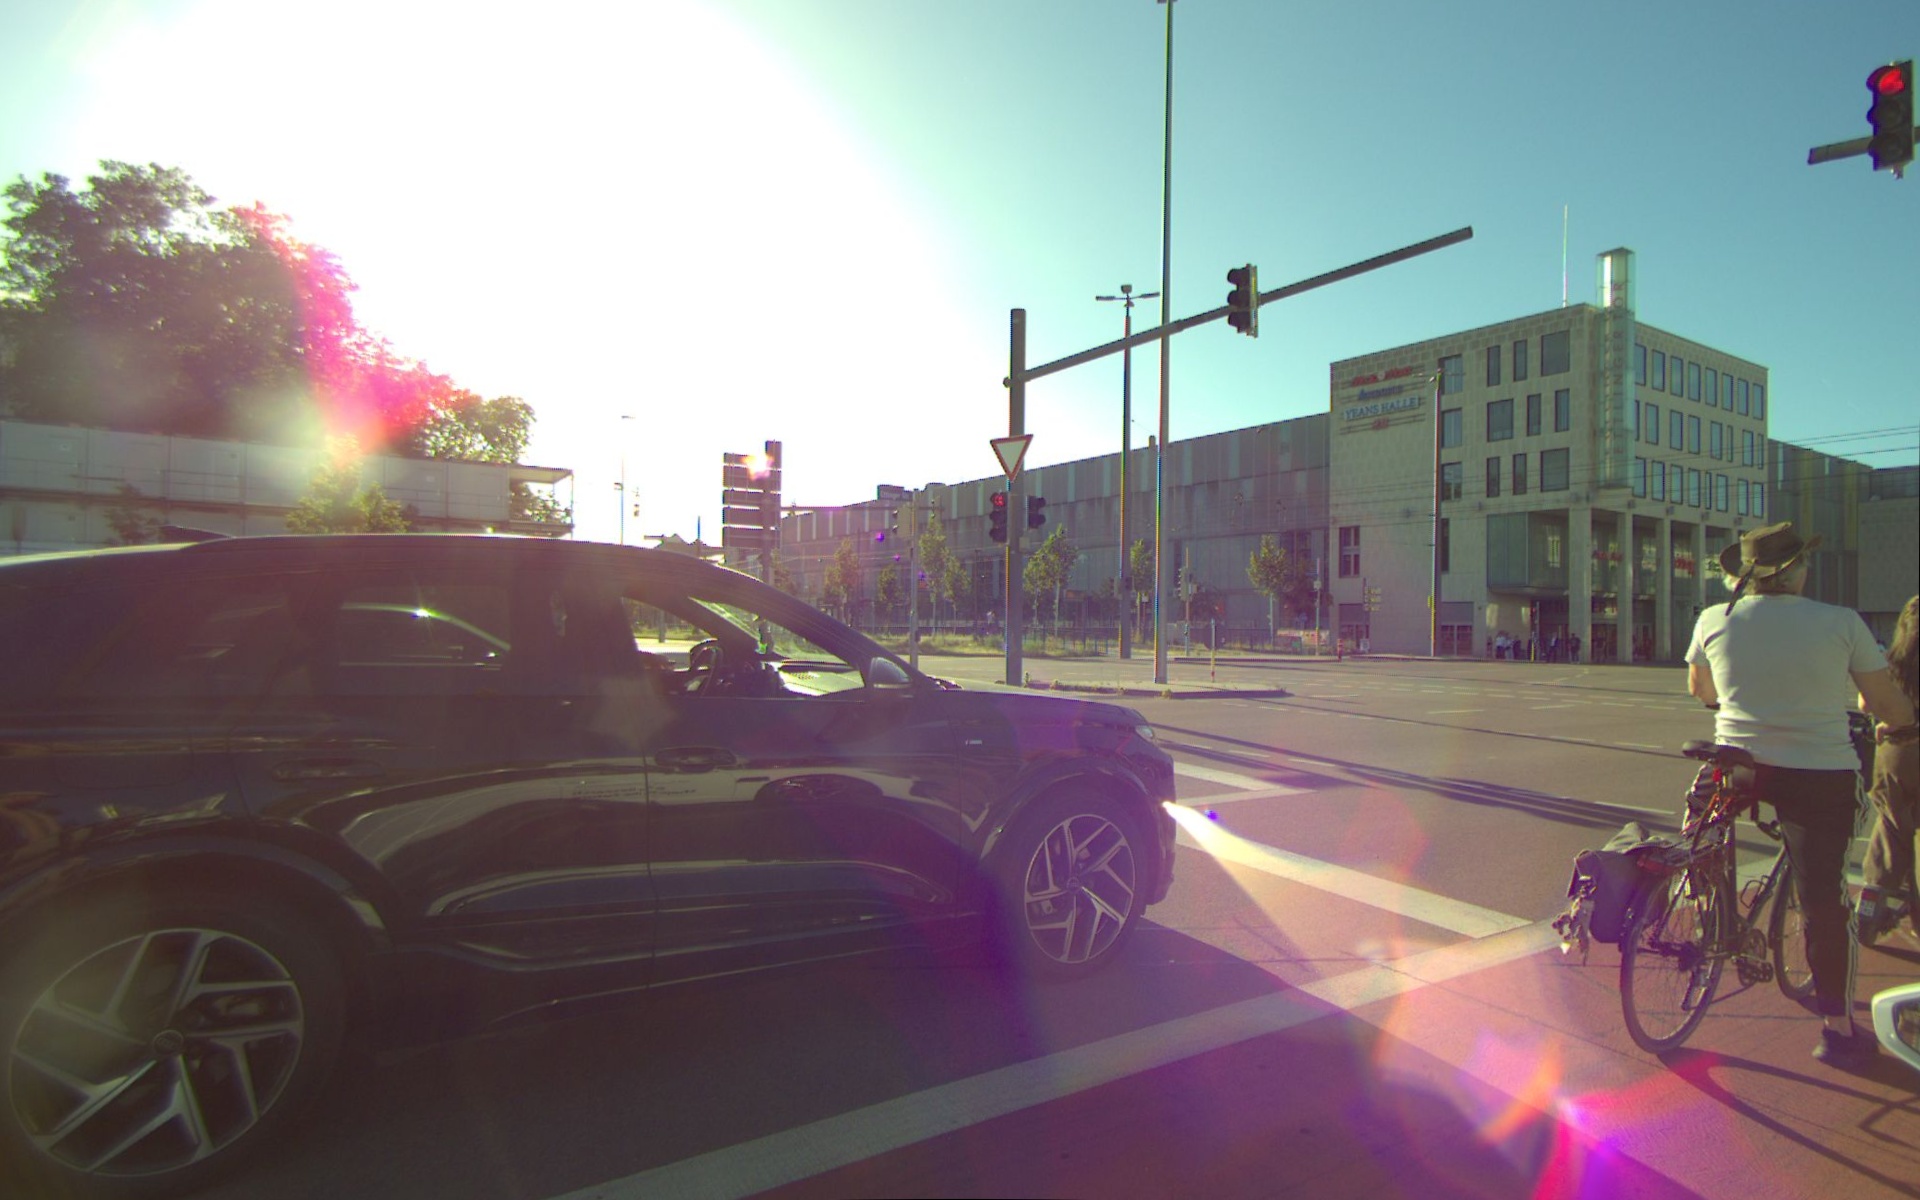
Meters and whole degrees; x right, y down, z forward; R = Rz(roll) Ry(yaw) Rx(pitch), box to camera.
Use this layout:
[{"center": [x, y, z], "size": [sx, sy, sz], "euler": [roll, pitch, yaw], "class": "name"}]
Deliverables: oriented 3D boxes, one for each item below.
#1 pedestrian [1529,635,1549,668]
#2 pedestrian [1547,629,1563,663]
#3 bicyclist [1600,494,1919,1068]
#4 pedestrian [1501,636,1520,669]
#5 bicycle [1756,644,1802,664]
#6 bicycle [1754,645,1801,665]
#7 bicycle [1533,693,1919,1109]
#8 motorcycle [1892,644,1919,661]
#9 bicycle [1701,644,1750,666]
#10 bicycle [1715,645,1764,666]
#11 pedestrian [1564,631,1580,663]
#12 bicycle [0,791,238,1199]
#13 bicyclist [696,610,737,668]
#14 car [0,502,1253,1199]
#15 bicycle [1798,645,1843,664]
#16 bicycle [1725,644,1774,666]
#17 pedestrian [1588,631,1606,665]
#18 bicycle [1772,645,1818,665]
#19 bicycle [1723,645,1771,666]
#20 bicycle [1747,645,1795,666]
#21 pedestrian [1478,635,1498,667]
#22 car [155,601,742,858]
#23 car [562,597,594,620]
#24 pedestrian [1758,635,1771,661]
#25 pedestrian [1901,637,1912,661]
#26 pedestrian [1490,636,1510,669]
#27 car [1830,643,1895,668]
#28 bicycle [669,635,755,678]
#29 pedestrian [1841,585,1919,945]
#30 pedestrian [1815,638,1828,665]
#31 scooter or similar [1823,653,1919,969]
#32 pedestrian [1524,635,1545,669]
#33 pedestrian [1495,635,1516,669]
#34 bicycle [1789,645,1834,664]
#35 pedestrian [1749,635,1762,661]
[{"center": [34.404, 3.049, 59.691], "size": [0.710, 1.910, 0.779], "euler": [2, 0, -36], "class": "pedestrian"}, {"center": [34.347, 2.654, 57.954], "size": [0.705, 1.910, 0.785], "euler": [2, 0, 33], "class": "pedestrian"}, {"center": [2.863, 0.559, 3.557], "size": [0.856, 1.743, 0.657], "euler": [2, 0, -30], "class": "bicyclist"}, {"center": [33.241, 3.171, 60.663], "size": [0.780, 1.910, 0.709], "euler": [2, 0, -37], "class": "pedestrian"}, {"center": [54.278, 3.584, 66.567], "size": [0.605, 1.238, 2.295], "euler": [1, -1, -31], "class": "bicycle"}, {"center": [52.899, 3.535, 65.019], "size": [0.605, 1.238, 2.295], "euler": [1, -1, -31], "class": "bicycle"}, {"center": [2.873, 0.964, 3.683], "size": [1.810, 1.171, 0.482], "euler": [2, 0, -31], "class": "bicycle"}, {"center": [70.737, 3.910, 74.855], "size": [0.508, 1.223, 1.786], "euler": [1, 0, -44], "class": "motorcycle"}, {"center": [45.759, 3.293, 60.084], "size": [0.605, 1.238, 2.295], "euler": [1, -1, -31], "class": "bicycle"}, {"center": [46.961, 3.332, 60.528], "size": [0.605, 1.238, 2.295], "euler": [1, -1, -31], "class": "bicycle"}, {"center": [35.627, 2.735, 58.426], "size": [0.784, 1.868, 0.862], "euler": [0, -1, 32], "class": "pedestrian"}, {"center": [-1.904, 0.877, 0.930], "size": [1.949, 1.124, 0.643], "euler": [1, 0, -33], "class": "bicycle"}, {"center": [-8.805, 1.388, 36.360], "size": [1.078, 2.040, 0.961], "euler": [2, 0, 15], "class": "bicyclist"}, {"center": [-1.160, 0.635, 3.874], "size": [4.630, 1.656, 1.760], "euler": [1, 0, -32], "class": "car"}, {"center": [59.821, 3.769, 69.853], "size": [0.605, 1.238, 2.295], "euler": [1, -1, -31], "class": "bicycle"}, {"center": [48.694, 3.392, 61.960], "size": [0.605, 1.238, 2.295], "euler": [1, -1, -31], "class": "bicycle"}, {"center": [35.869, 2.699, 56.585], "size": [0.784, 1.868, 0.863], "euler": [0, -1, 28], "class": "pedestrian"}, {"center": [55.517, 3.623, 66.830], "size": [0.605, 1.238, 2.295], "euler": [1, -1, -31], "class": "bicycle"}, {"center": [48.044, 3.369, 61.339], "size": [0.605, 1.238, 2.295], "euler": [1, -1, -31], "class": "bicycle"}, {"center": [51.274, 3.478, 63.551], "size": [0.605, 1.238, 2.295], "euler": [1, -1, -31], "class": "bicycle"}, {"center": [32.301, 3.114, 61.474], "size": [0.710, 1.910, 0.779], "euler": [2, 0, -35], "class": "pedestrian"}, {"center": [-3.591, 0.793, 7.500], "size": [3.562, 1.505, 1.485], "euler": [1, 0, -30], "class": "car"}, {"center": [-32.938, 0.735, 86.518], "size": [1.785, 1.908, 3.964], "euler": [2, 0, -33], "class": "car"}, {"center": [55.131, 3.296, 68.824], "size": [0.602, 1.702, 0.549], "euler": [1, 0, -40], "class": "pedestrian"}, {"center": [71.095, 3.674, 75.455], "size": [0.579, 1.702, 0.516], "euler": [1, 1, -43], "class": "pedestrian"}, {"center": [32.159, 3.134, 59.870], "size": [0.710, 1.910, 0.779], "euler": [2, 0, -36], "class": "pedestrian"}, {"center": [49.780, 3.067, 55.410], "size": [3.956, 1.359, 1.621], "euler": [2, -4, -32], "class": "car"}, {"center": [-8.971, 2.019, 36.390], "size": [2.905, 1.388, 0.970], "euler": [2, 0, 16], "class": "bicycle"}, {"center": [4.627, 0.765, 4.810], "size": [0.568, 1.654, 0.543], "euler": [2, 0, -45], "class": "pedestrian"}, {"center": [56.124, 3.350, 65.443], "size": [0.639, 1.742, 0.449], "euler": [0, -1, 37], "class": "pedestrian"}, {"center": [4.486, 0.928, 4.718], "size": [1.186, 1.311, 0.541], "euler": [2, 0, -45], "class": "scooter or similar"}, {"center": [33.394, 3.012, 58.378], "size": [0.710, 1.910, 0.779], "euler": [2, 0, -36], "class": "pedestrian"}, {"center": [33.687, 3.220, 61.981], "size": [0.767, 2.040, 0.876], "euler": [2, 0, -41], "class": "pedestrian"}, {"center": [58.849, 3.738, 69.428], "size": [0.605, 1.238, 2.295], "euler": [1, -1, -31], "class": "bicycle"}, {"center": [54.806, 3.308, 69.187], "size": [0.610, 1.702, 0.565], "euler": [1, 0, -39], "class": "pedestrian"}]
